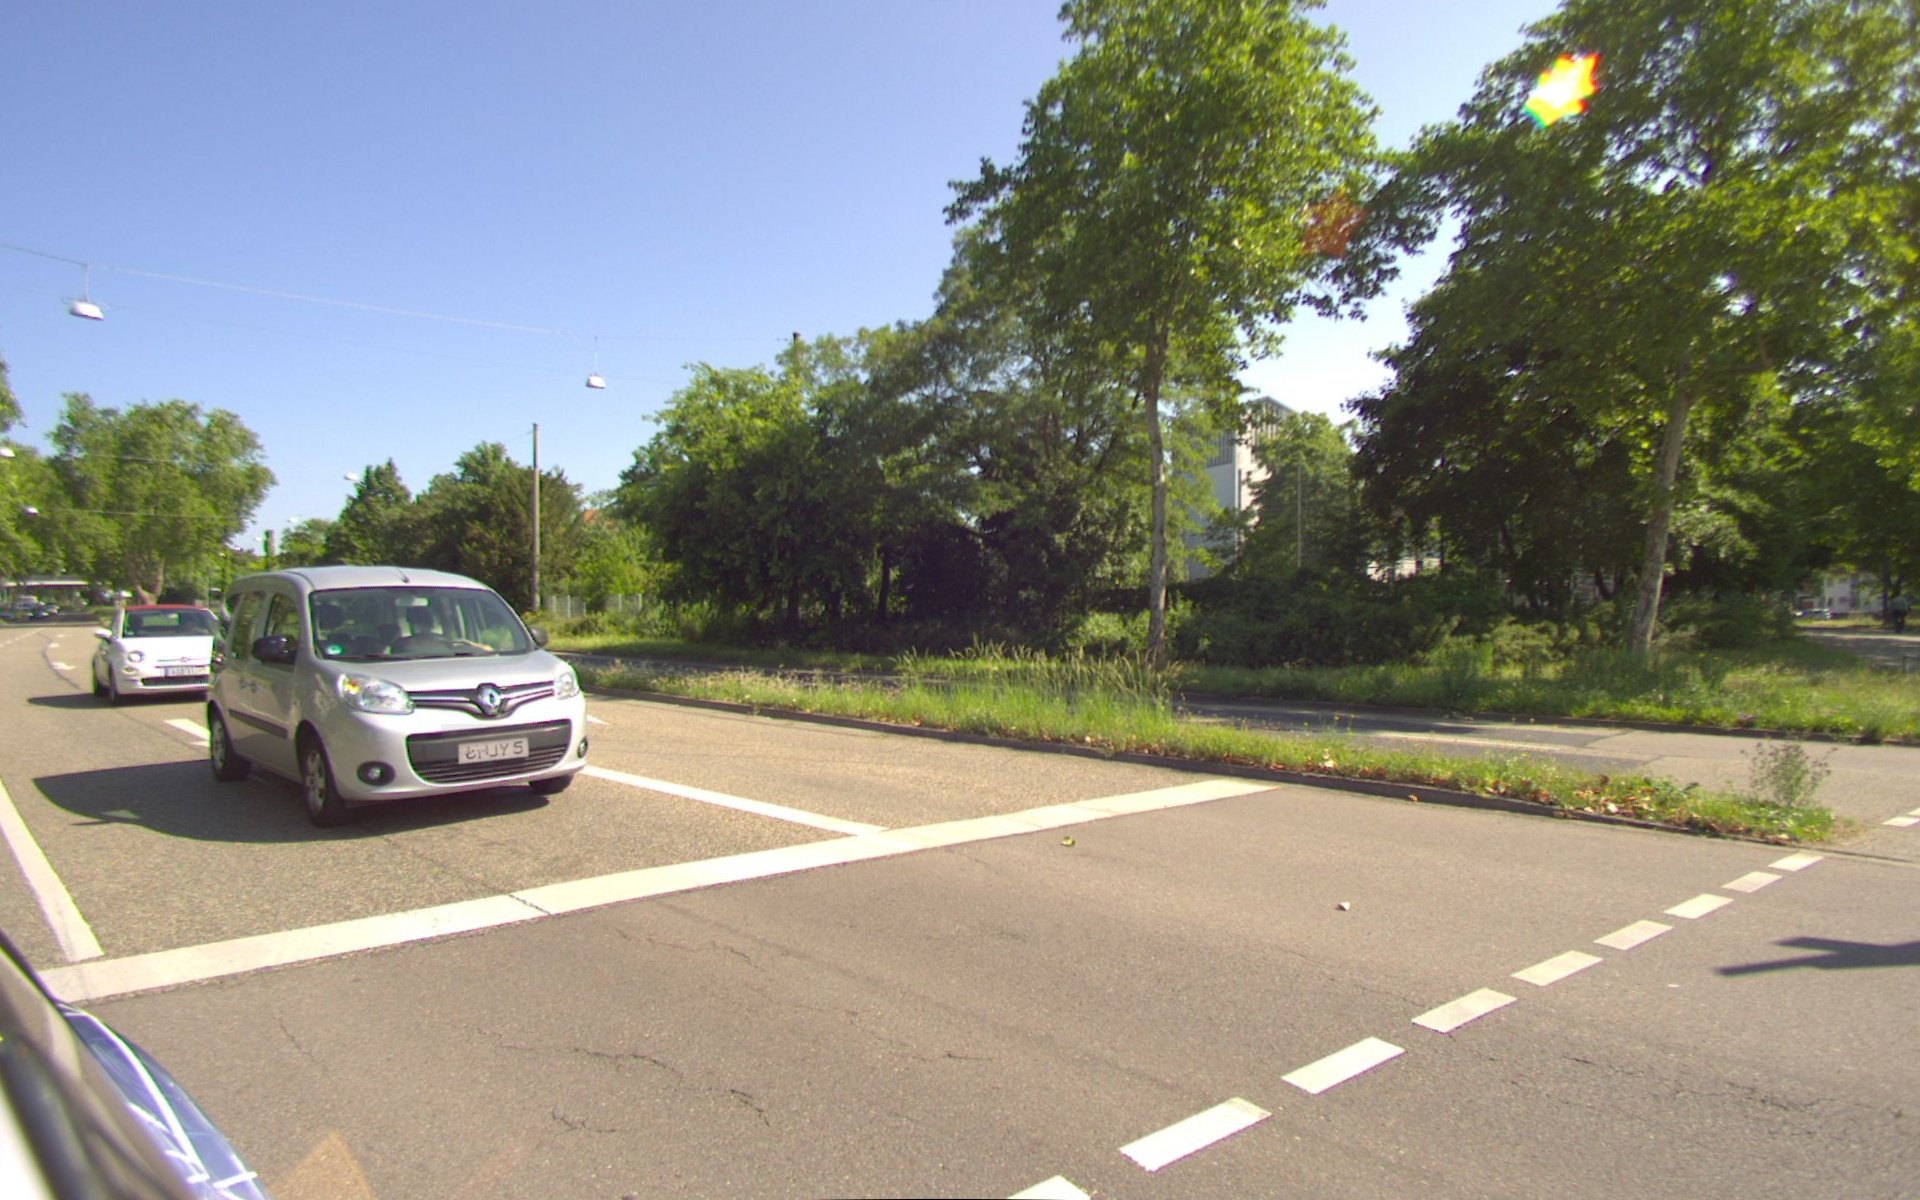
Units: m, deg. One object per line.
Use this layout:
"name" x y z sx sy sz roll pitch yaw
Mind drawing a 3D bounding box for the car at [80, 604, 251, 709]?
"car" -13.090 0.828 16.575 4.377 1.502 1.666 -1 -1 45

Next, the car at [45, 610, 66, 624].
"car" -136.797 2.556 153.077 1.967 2.029 4.010 1 -1 -35

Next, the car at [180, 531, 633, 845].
"car" -4.619 0.532 8.128 4.374 1.854 1.852 -1 0 42

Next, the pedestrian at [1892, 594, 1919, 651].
"pedestrian" 35.407 0.835 37.833 0.753 2.106 0.611 0 -1 35

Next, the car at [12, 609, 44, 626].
"car" -109.062 2.041 118.423 1.966 2.029 4.012 0 -1 -31
